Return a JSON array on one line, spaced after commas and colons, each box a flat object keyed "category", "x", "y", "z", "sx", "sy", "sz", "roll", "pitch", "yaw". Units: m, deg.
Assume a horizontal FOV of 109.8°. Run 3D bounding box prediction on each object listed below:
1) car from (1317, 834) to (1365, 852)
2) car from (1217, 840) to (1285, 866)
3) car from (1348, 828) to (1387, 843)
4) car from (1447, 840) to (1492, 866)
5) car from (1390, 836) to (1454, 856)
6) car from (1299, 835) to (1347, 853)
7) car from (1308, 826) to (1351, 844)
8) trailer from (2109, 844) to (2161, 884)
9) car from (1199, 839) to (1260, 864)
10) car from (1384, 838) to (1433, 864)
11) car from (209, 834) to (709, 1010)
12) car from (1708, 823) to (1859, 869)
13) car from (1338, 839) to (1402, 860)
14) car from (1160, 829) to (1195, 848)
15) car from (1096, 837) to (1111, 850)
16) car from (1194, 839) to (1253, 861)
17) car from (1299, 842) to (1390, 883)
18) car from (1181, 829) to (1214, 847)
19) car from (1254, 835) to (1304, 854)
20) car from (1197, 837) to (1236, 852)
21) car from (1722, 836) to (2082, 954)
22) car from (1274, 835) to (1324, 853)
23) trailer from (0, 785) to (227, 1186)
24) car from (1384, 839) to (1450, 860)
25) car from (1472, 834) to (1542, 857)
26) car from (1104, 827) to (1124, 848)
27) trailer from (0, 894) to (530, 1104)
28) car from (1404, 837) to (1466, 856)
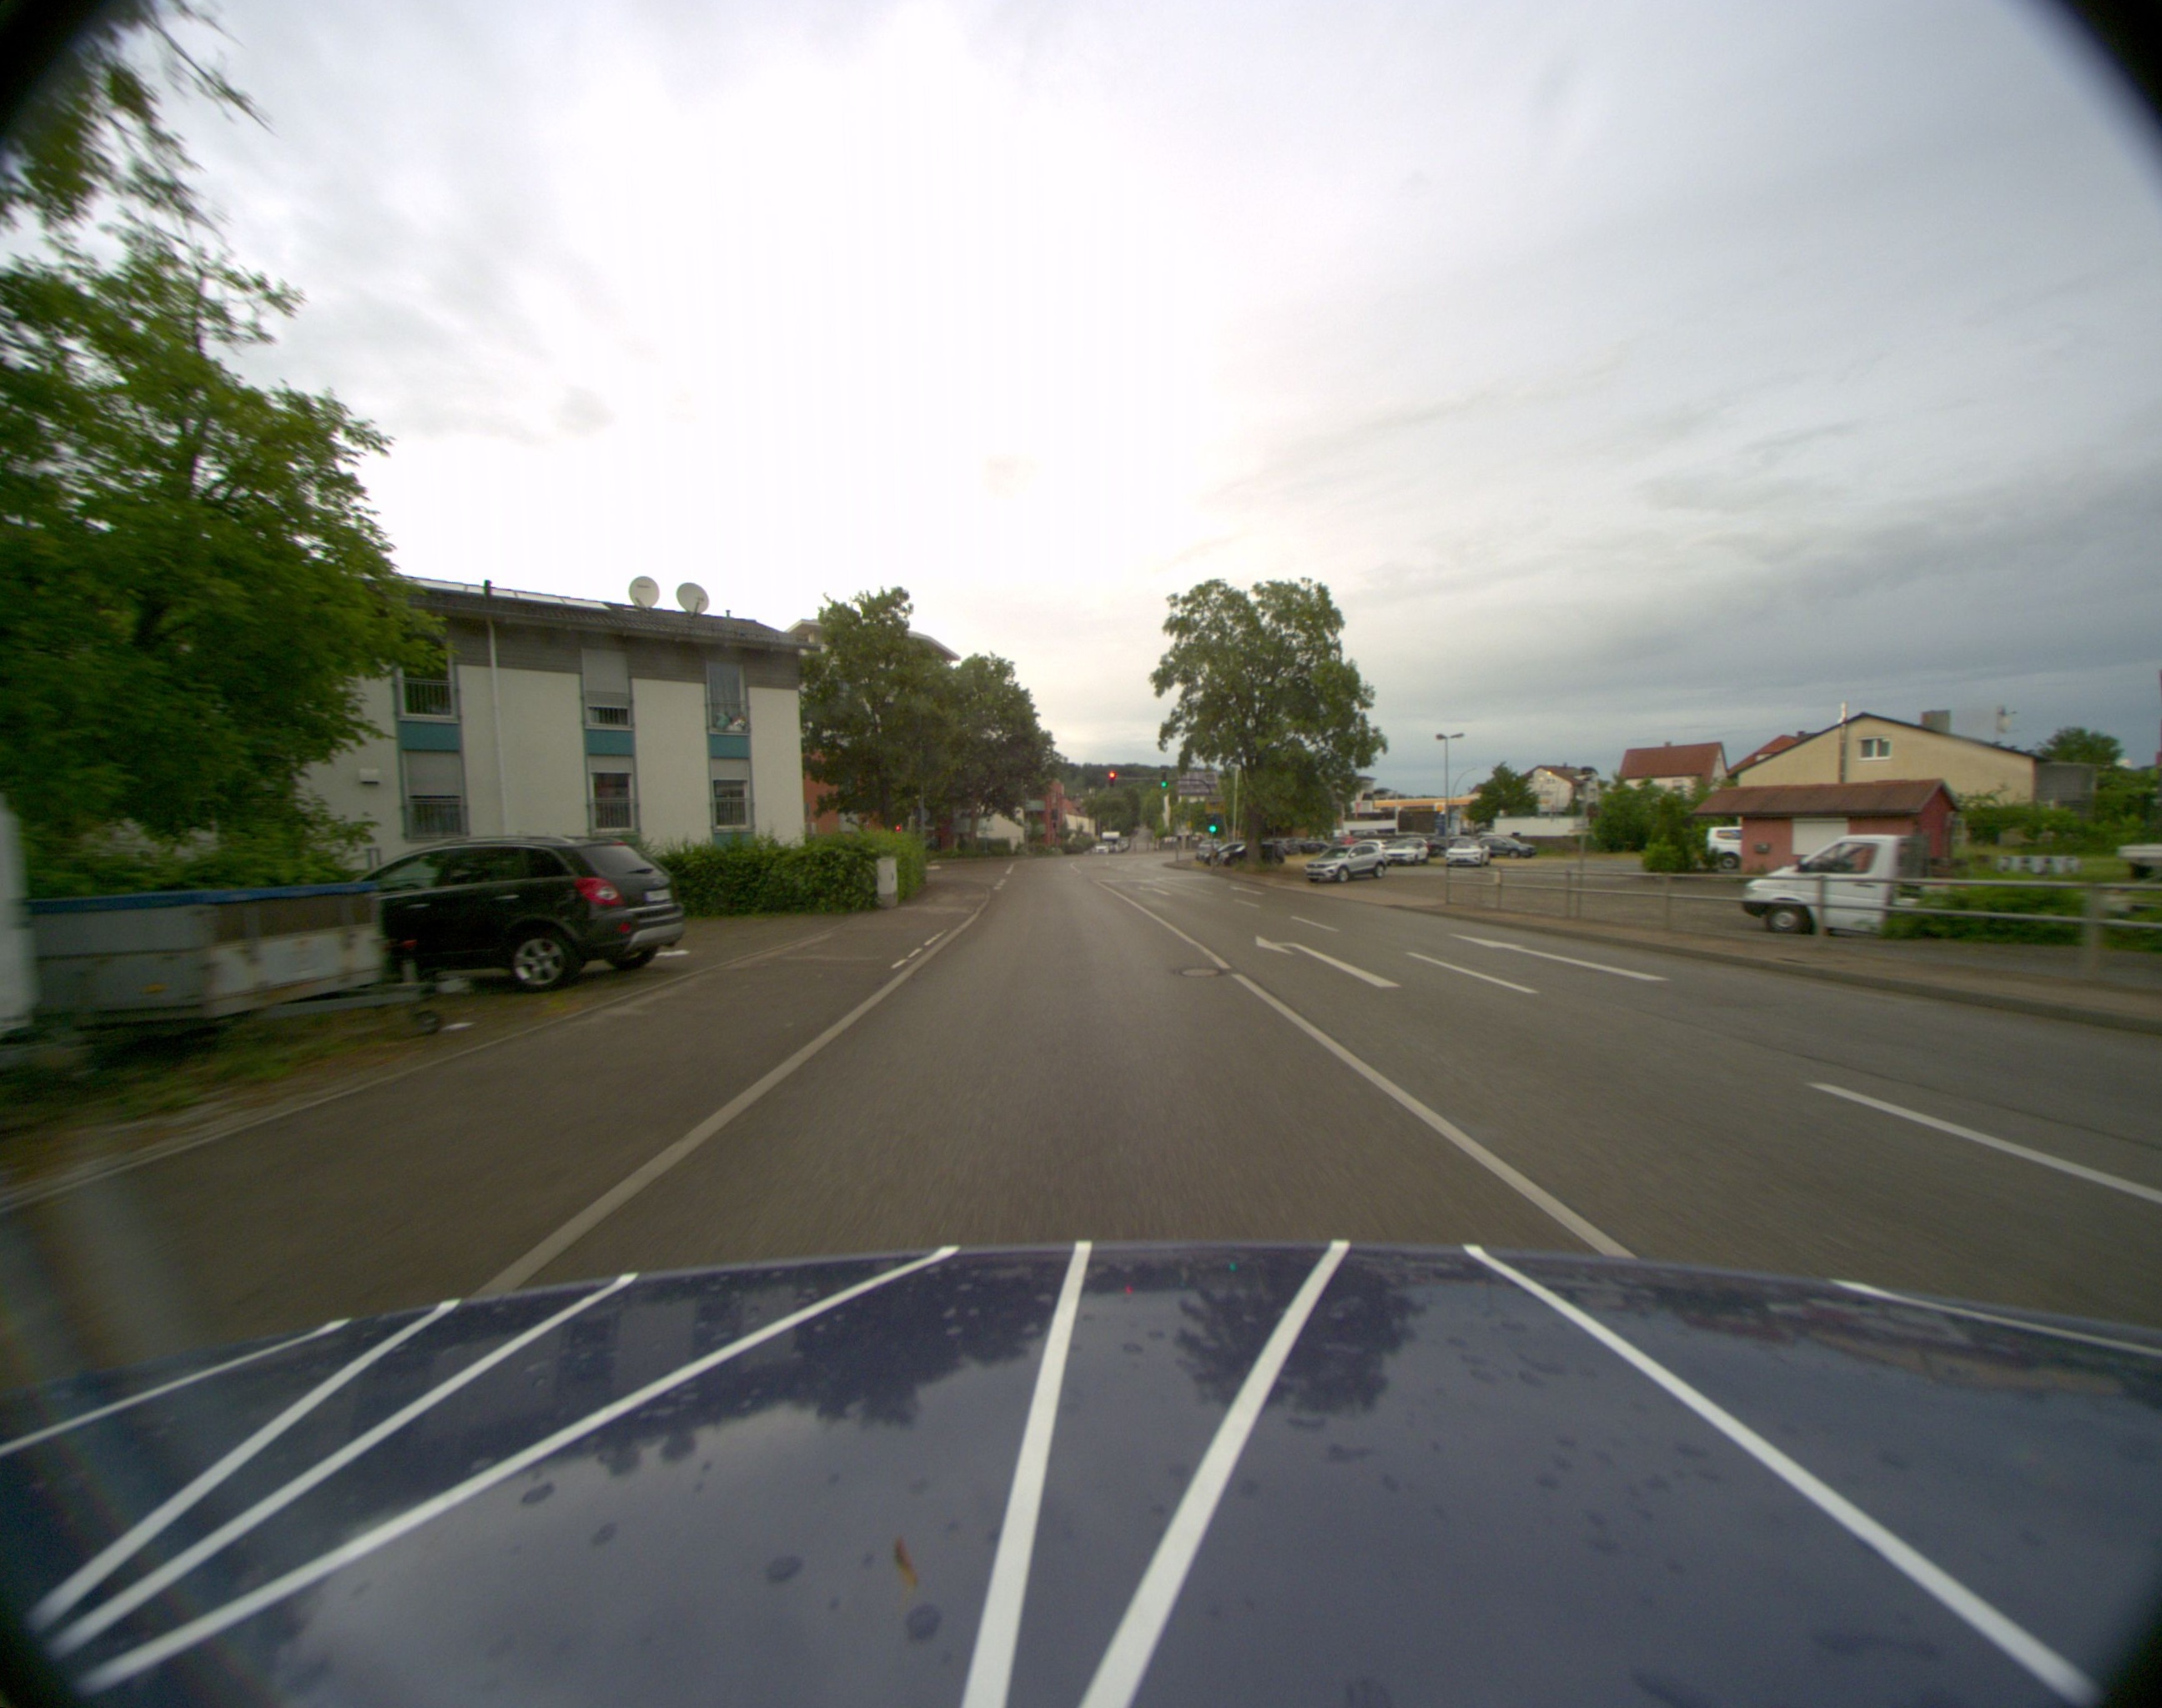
[{"category": "car", "x": 23.602, "y": -0.983, "z": 69.075, "sx": 1.596, "sy": 1.542, "sz": 3.764, "roll": -3, "pitch": 2, "yaw": -44}, {"category": "car", "x": 10.635, "y": -0.057, "z": 47.797, "sx": 3.894, "sy": 1.559, "sz": 1.672, "roll": -1, "pitch": 2, "yaw": 0}, {"category": "car", "x": 35.557, "y": -2.300, "z": 94.279, "sx": 4.930, "sy": 1.853, "sz": 2.048, "roll": -1, "pitch": 1, "yaw": -34}, {"category": "car", "x": 23.076, "y": -0.081, "z": 45.116, "sx": 1.824, "sy": 1.407, "sz": 4.017, "roll": 0, "pitch": 2, "yaw": 35}, {"category": "car", "x": 25.785, "y": -0.611, "z": 57.571, "sx": 1.793, "sy": 1.444, "sz": 4.033, "roll": -2, "pitch": 2, "yaw": -35}, {"category": "car", "x": 21.347, "y": -0.864, "z": 67.090, "sx": 1.596, "sy": 1.542, "sz": 3.764, "roll": -3, "pitch": 2, "yaw": -44}, {"category": "car", "x": 29.624, "y": -2.299, "z": 90.451, "sx": 5.264, "sy": 2.075, "sz": 2.048, "roll": -1, "pitch": 1, "yaw": -34}, {"category": "trailer", "x": 32.062, "y": 0.269, "z": 22.067, "sx": 4.880, "sy": 1.022, "sz": 2.096, "roll": -1, "pitch": 2, "yaw": -30}, {"category": "car", "x": 9.844, "y": -0.164, "z": 50.647, "sx": 3.766, "sy": 1.559, "sz": 1.672, "roll": -1, "pitch": 2, "yaw": 3}, {"category": "car", "x": 20.429, "y": -0.195, "z": 47.306, "sx": 1.785, "sy": 1.501, "sz": 4.051, "roll": 0, "pitch": 2, "yaw": 38}, {"category": "car", "x": -7.020, "y": 0.723, "z": 8.979, "sx": 4.223, "sy": 1.739, "sz": 1.984, "roll": -2, "pitch": 0, "yaw": 0}, {"category": "car", "x": 32.286, "y": -0.383, "z": 35.057, "sx": 1.965, "sy": 1.976, "sz": 4.858, "roll": -2, "pitch": 2, "yaw": -38}, {"category": "car", "x": 20.730, "y": -0.359, "z": 54.631, "sx": 1.793, "sy": 1.444, "sz": 4.033, "roll": -2, "pitch": 2, "yaw": -35}, {"category": "car", "x": 11.460, "y": -1.852, "z": 90.334, "sx": 1.773, "sy": 2.094, "sz": 4.371, "roll": -3, "pitch": 5, "yaw": -33}, {"category": "car", "x": 2.661, "y": -1.244, "z": 91.022, "sx": 1.769, "sy": 1.460, "sz": 3.999, "roll": -1, "pitch": 1, "yaw": 1}, {"category": "car", "x": 10.367, "y": -0.292, "z": 55.216, "sx": 4.153, "sy": 1.502, "sz": 1.673, "roll": -1, "pitch": 3, "yaw": 13}, {"category": "car", "x": 11.861, "y": 0.343, "z": 34.106, "sx": 4.014, "sy": 1.561, "sz": 1.716, "roll": -4, "pitch": 2, "yaw": -33}, {"category": "car", "x": 14.518, "y": -2.012, "z": 94.866, "sx": 1.773, "sy": 2.094, "sz": 4.210, "roll": -3, "pitch": 5, "yaw": -34}, {"category": "car", "x": 16.439, "y": -0.770, "z": 63.182, "sx": 1.596, "sy": 1.542, "sz": 3.764, "roll": -3, "pitch": 2, "yaw": -44}, {"category": "car", "x": 12.792, "y": -0.903, "z": 71.723, "sx": 3.710, "sy": 1.373, "sz": 1.645, "roll": -1, "pitch": 2, "yaw": -42}, {"category": "car", "x": 15.256, "y": 0.638, "z": 14.421, "sx": 2.067, "sy": 1.860, "sz": 4.272, "roll": -2, "pitch": 1, "yaw": -29}, {"category": "car", "x": 18.684, "y": -0.866, "z": 65.219, "sx": 1.596, "sy": 1.542, "sz": 3.764, "roll": -3, "pitch": 2, "yaw": -44}, {"category": "trailer", "x": -7.436, "y": 0.748, "z": 3.903, "sx": 3.963, "sy": 2.010, "sz": 1.686, "roll": -3, "pitch": 1, "yaw": -2}, {"category": "car", "x": 24.114, "y": -0.362, "z": 54.651, "sx": 1.793, "sy": 1.444, "sz": 4.033, "roll": -2, "pitch": 2, "yaw": -35}, {"category": "car", "x": 30.579, "y": -0.619, "z": 54.592, "sx": 1.793, "sy": 1.546, "sz": 4.033, "roll": -2, "pitch": 2, "yaw": -30}, {"category": "car", "x": 4.710, "y": -2.389, "z": 107.766, "sx": 2.573, "sy": 2.759, "sz": 6.125, "roll": 0, "pitch": 4, "yaw": 4}, {"category": "trailer", "x": -7.135, "y": 1.056, "z": 5.940, "sx": 4.409, "sy": 1.280, "sz": 1.571, "roll": -2, "pitch": 0, "yaw": -2}, {"category": "car", "x": 27.634, "y": -0.614, "z": 59.364, "sx": 1.793, "sy": 1.444, "sz": 4.033, "roll": -2, "pitch": 2, "yaw": -35}]
